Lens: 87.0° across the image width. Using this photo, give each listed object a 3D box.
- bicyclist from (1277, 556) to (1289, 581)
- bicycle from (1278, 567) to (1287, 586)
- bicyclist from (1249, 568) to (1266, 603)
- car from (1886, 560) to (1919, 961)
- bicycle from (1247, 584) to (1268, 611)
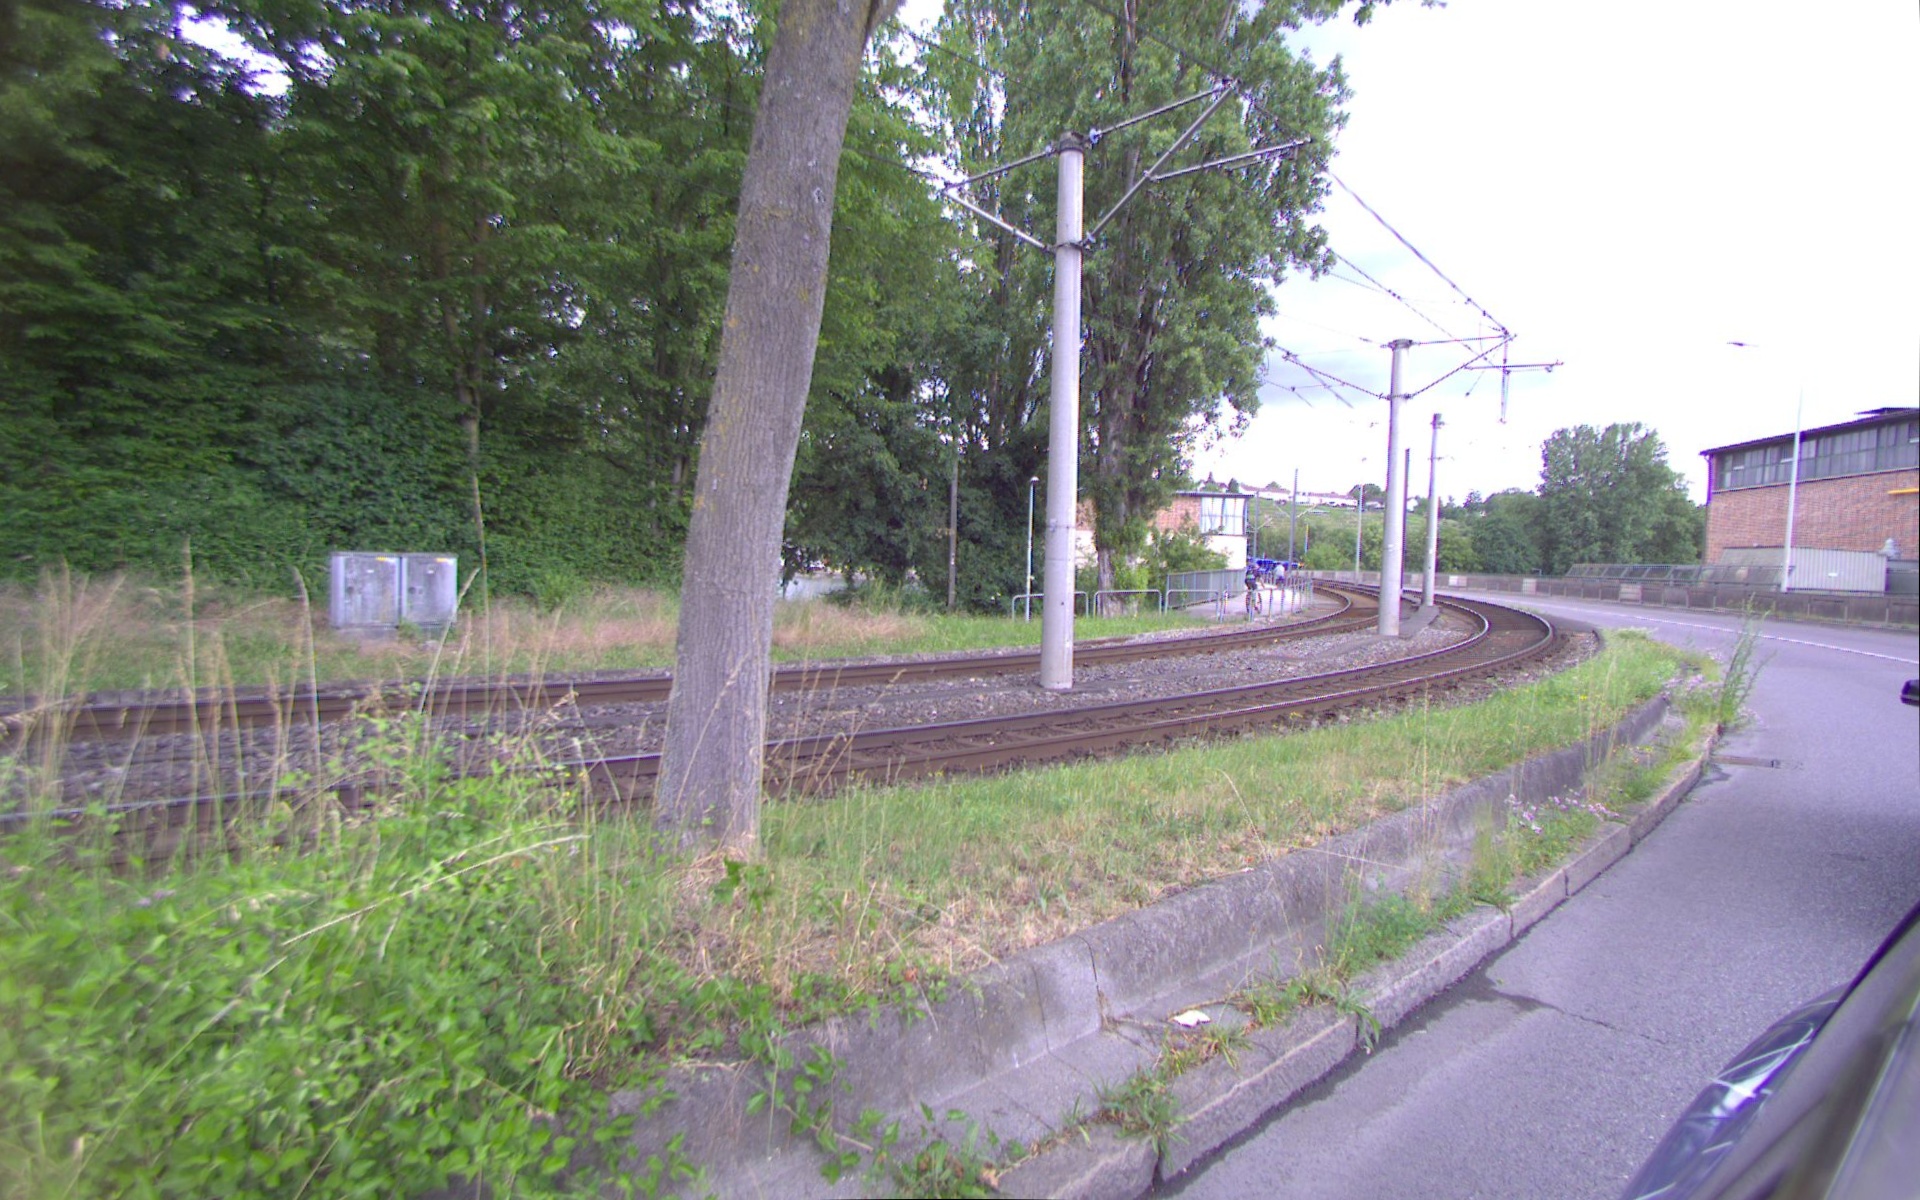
[{"bbox_3d":[18.490,-1.808,57.979,0.587,1.377,0.906,1,1,17],"label":"bicyclist"},{"bbox_3d":[18.482,-1.338,57.963,0.421,1.063,2.069,1,1,17],"label":"bicycle"},{"bbox_3d":[9.511,-0.460,32.358,0.413,1.097,0.470,2,2,27],"label":"bicyclist"},{"bbox_3d":[5.956,0.664,4.822,3.932,1.641,1.859,-1,4,-42],"label":"car"},{"bbox_3d":[9.529,-0.090,32.403,0.345,0.804,1.533,2,2,26],"label":"bicycle"}]
